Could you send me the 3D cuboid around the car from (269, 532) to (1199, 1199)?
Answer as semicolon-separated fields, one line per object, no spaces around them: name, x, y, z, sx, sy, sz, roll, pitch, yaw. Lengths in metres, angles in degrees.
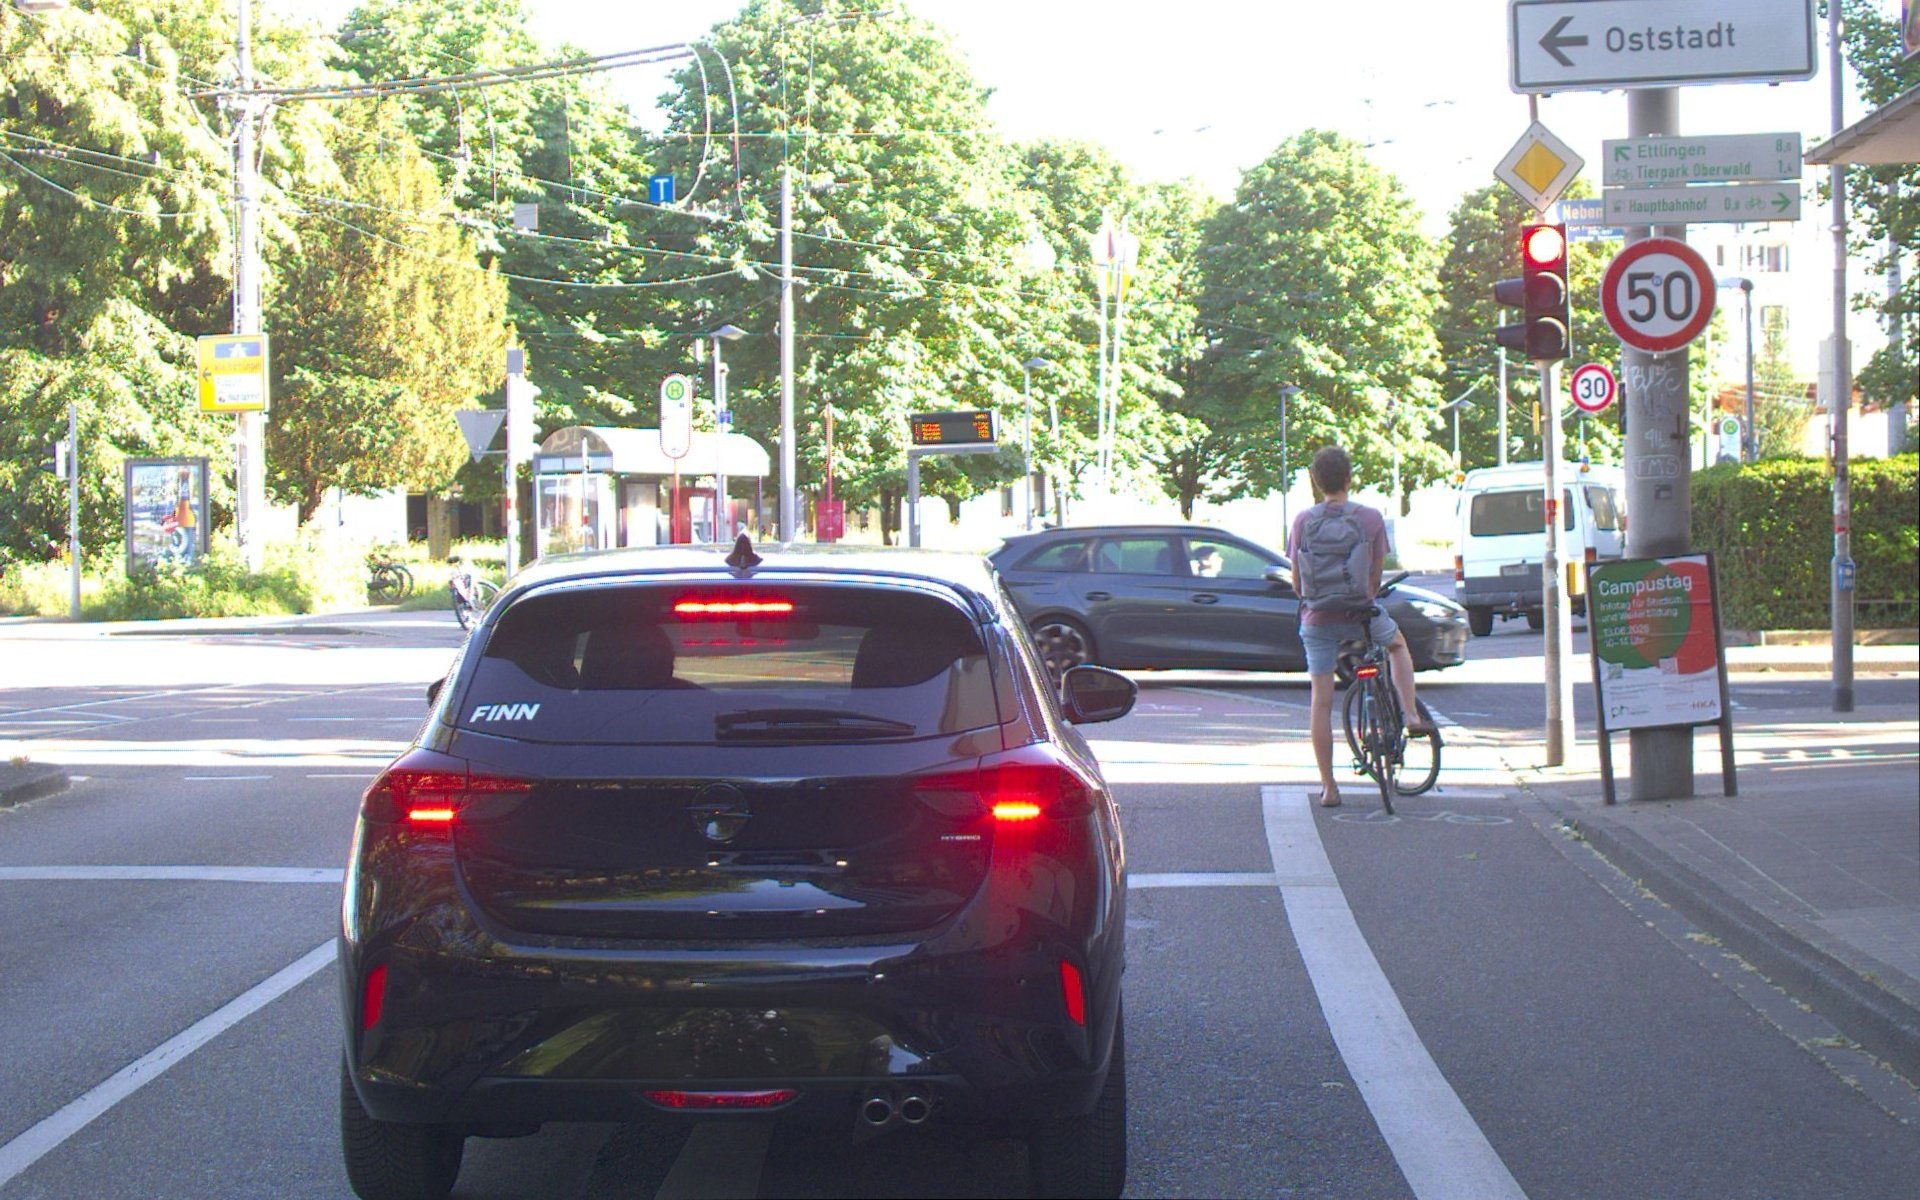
car;-0.471;0.568;8.814;1.840;1.457;3.984;0;1;-1

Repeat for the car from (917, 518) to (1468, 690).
car;2.070;0.008;30.557;4.727;1.468;1.939;0;1;5

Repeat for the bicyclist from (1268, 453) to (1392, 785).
bicyclist;1.916;0.089;17.783;0.534;1.686;0.567;0;1;17

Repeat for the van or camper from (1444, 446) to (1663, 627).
van or camper;8.048;-0.836;46.311;2.031;2.302;4.535;1;1;21

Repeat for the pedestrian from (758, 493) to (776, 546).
pedestrian;-6.870;-2.877;122.352;0.603;1.865;0.519;1;0;-6

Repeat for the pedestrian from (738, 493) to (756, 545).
pedestrian;-7.655;-2.900;123.534;0.603;1.865;0.519;1;0;-6

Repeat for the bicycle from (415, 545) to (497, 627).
bicycle;-6.764;-0.202;46.227;0.796;1.061;2.185;0;1;-1

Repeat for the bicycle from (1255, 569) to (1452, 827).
bicycle;2.078;0.473;17.925;0.753;1.231;2.014;0;1;14

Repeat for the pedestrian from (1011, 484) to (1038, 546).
pedestrian;1.964;-2.578;104.652;0.603;1.865;0.519;1;0;-34
